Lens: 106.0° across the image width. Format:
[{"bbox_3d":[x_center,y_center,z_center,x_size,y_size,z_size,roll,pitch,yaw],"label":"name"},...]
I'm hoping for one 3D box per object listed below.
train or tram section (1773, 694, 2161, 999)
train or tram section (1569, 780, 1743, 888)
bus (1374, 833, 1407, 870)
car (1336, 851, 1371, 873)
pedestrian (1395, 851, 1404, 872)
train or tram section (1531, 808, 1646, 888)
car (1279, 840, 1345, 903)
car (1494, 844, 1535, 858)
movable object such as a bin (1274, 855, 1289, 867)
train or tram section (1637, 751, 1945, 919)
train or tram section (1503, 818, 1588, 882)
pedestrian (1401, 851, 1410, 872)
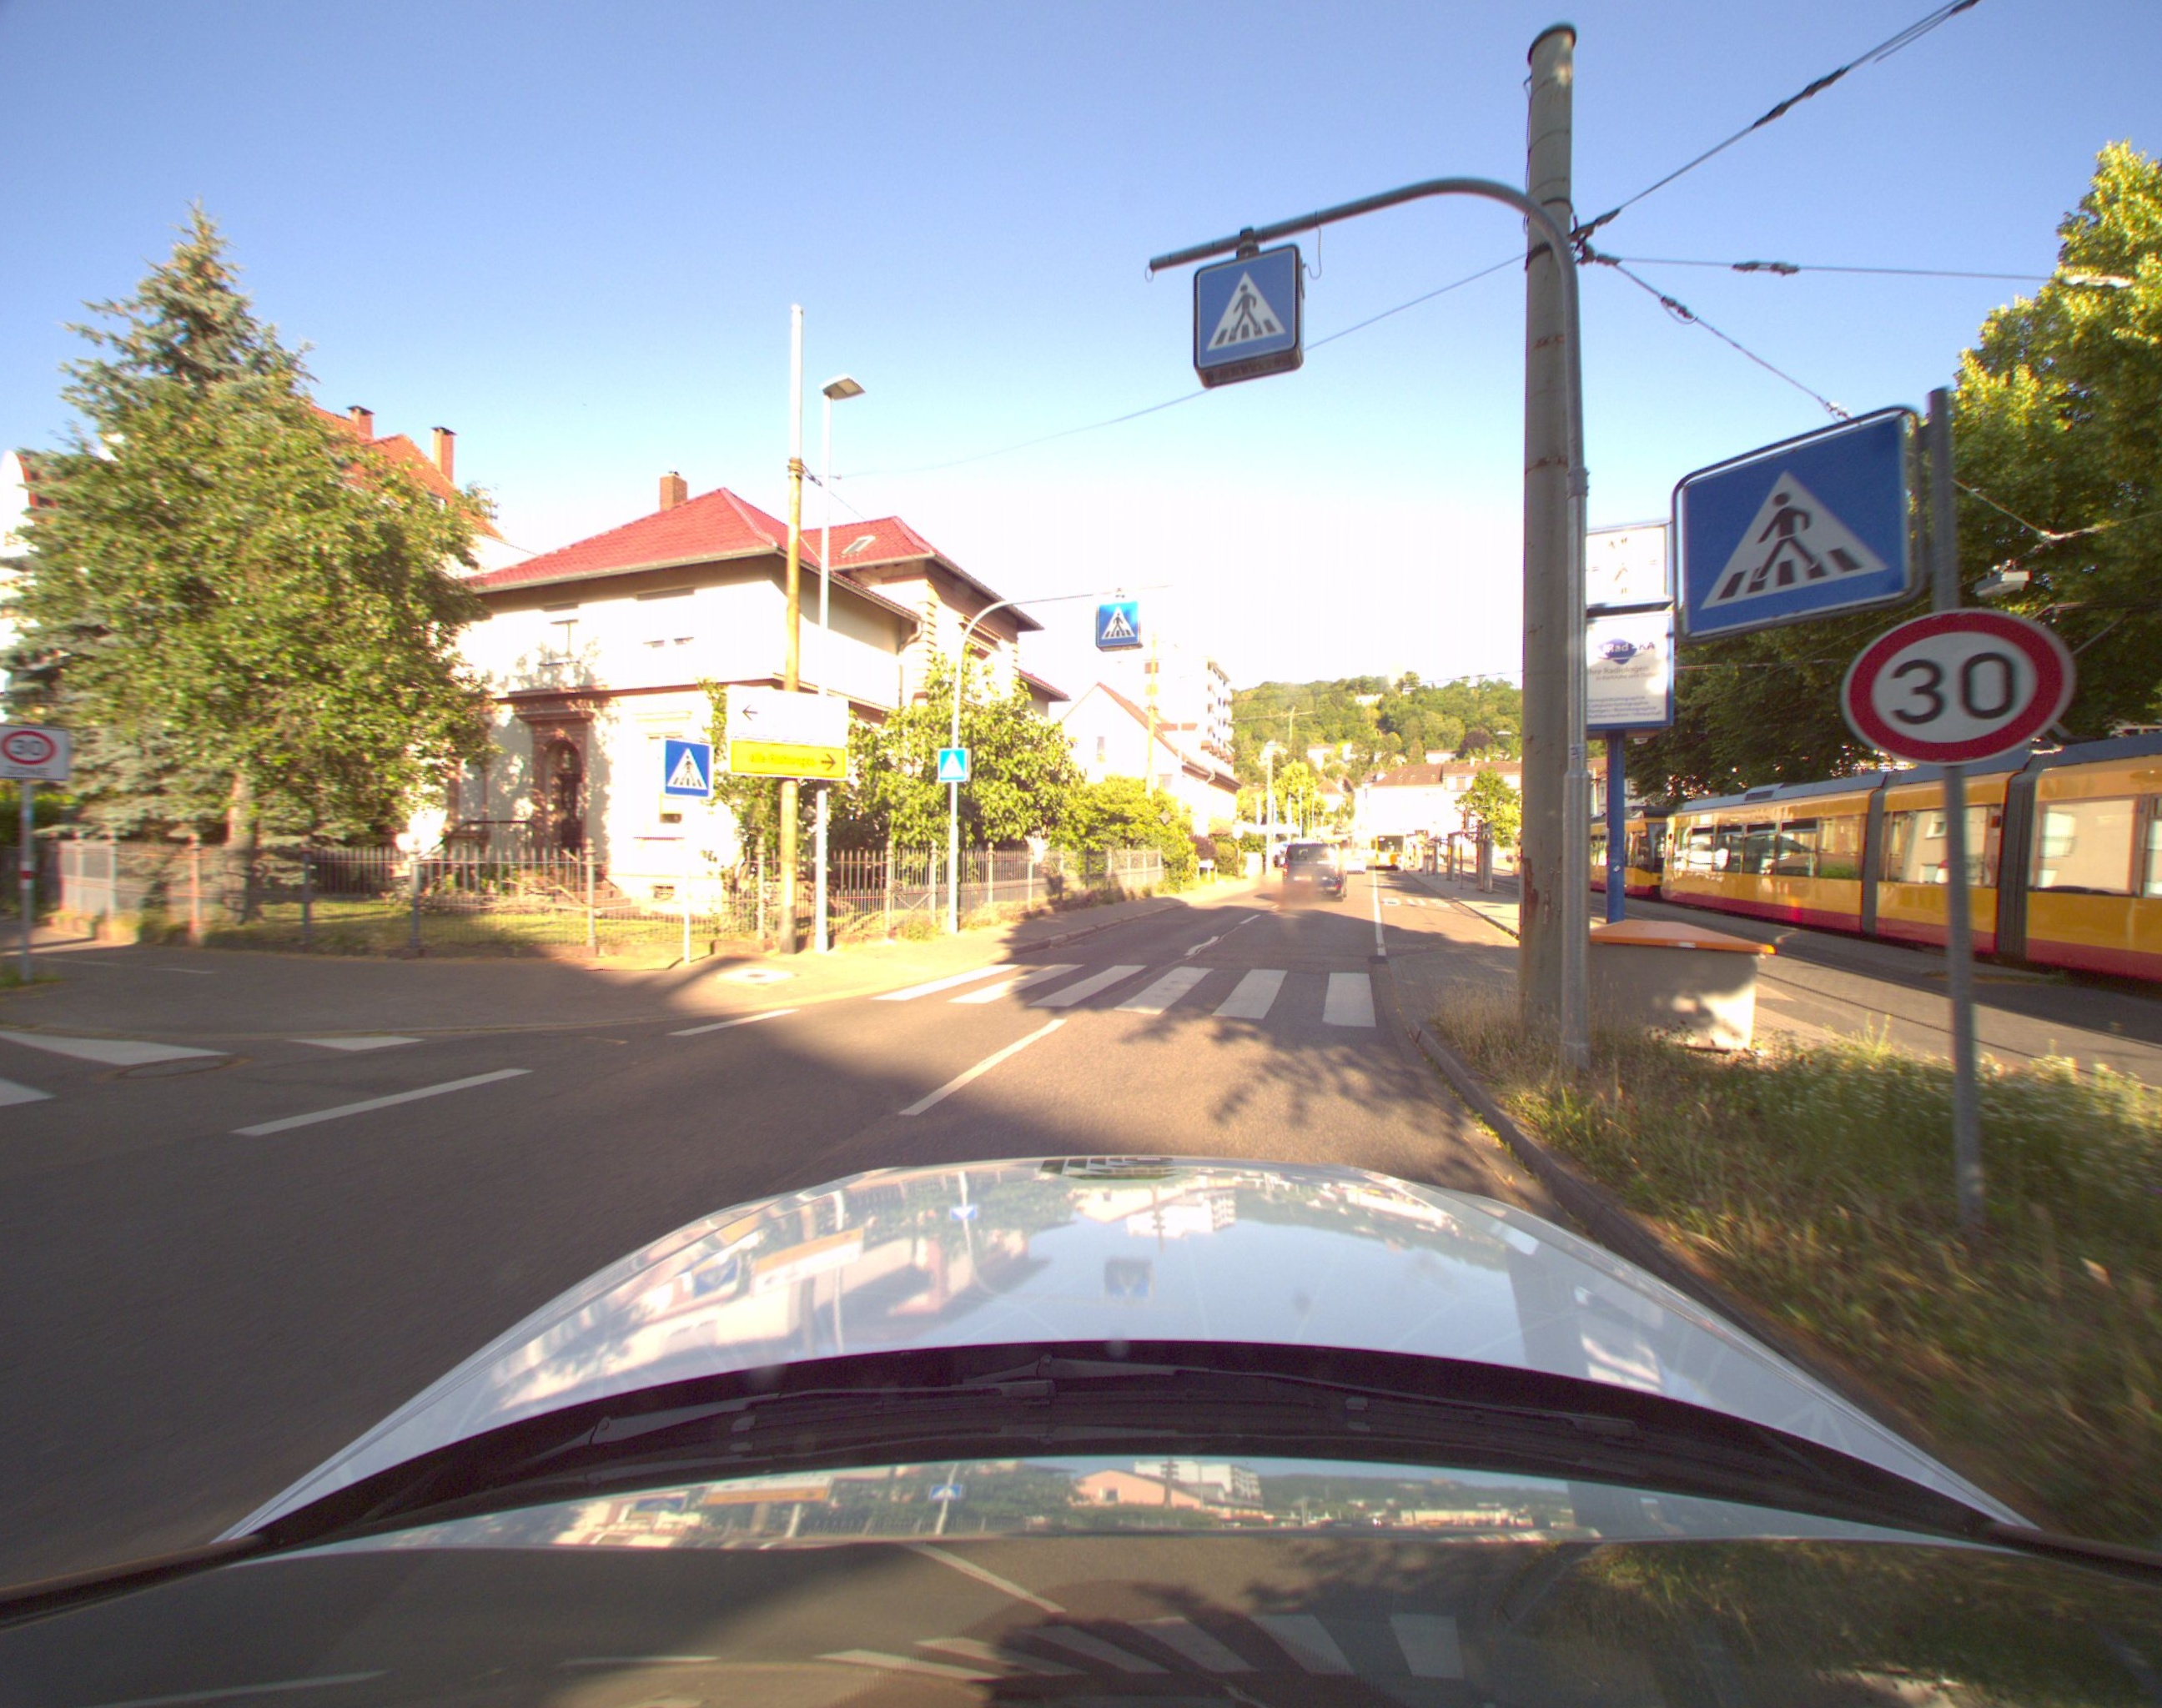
[{"bbox_3d":[15.233,-0.110,13.068,2.753,3.555,9.967,0,0,18],"label":"train or tram section"},{"bbox_3d":[21.924,-0.696,31.815,2.753,3.555,9.967,0,0,18],"label":"train or tram section"},{"bbox_3d":[28.956,-0.167,76.440,2.682,3.291,10.261,0,0,20],"label":"bus"},{"bbox_3d":[21.728,0.636,65.056,1.983,1.717,4.008,0,0,7],"label":"car"},{"bbox_3d":[27.663,0.662,70.699,0.546,1.767,0.547,1,-1,-32],"label":"pedestrian"},{"bbox_3d":[25.315,-0.321,41.215,2.753,3.555,9.968,0,0,19],"label":"train or tram section"},{"bbox_3d":[8.144,0.571,28.508,1.977,2.013,4.019,1,0,19],"label":"car"},{"bbox_3d":[64.288,-0.473,120.927,5.167,2.014,2.011,0,-1,23],"label":"car"},{"bbox_3d":[20.679,0.740,84.025,1.418,1.228,0.962,0,-1,8],"label":"movable object such as a bin"},{"bbox_3d":[18.593,-0.454,22.437,2.753,3.555,9.967,0,0,18],"label":"train or tram section"},{"bbox_3d":[28.597,-0.254,50.612,2.753,3.555,9.968,0,0,19],"label":"train or tram section"},{"bbox_3d":[27.965,0.661,70.172,0.546,1.767,0.547,1,-1,-32],"label":"pedestrian"}]
